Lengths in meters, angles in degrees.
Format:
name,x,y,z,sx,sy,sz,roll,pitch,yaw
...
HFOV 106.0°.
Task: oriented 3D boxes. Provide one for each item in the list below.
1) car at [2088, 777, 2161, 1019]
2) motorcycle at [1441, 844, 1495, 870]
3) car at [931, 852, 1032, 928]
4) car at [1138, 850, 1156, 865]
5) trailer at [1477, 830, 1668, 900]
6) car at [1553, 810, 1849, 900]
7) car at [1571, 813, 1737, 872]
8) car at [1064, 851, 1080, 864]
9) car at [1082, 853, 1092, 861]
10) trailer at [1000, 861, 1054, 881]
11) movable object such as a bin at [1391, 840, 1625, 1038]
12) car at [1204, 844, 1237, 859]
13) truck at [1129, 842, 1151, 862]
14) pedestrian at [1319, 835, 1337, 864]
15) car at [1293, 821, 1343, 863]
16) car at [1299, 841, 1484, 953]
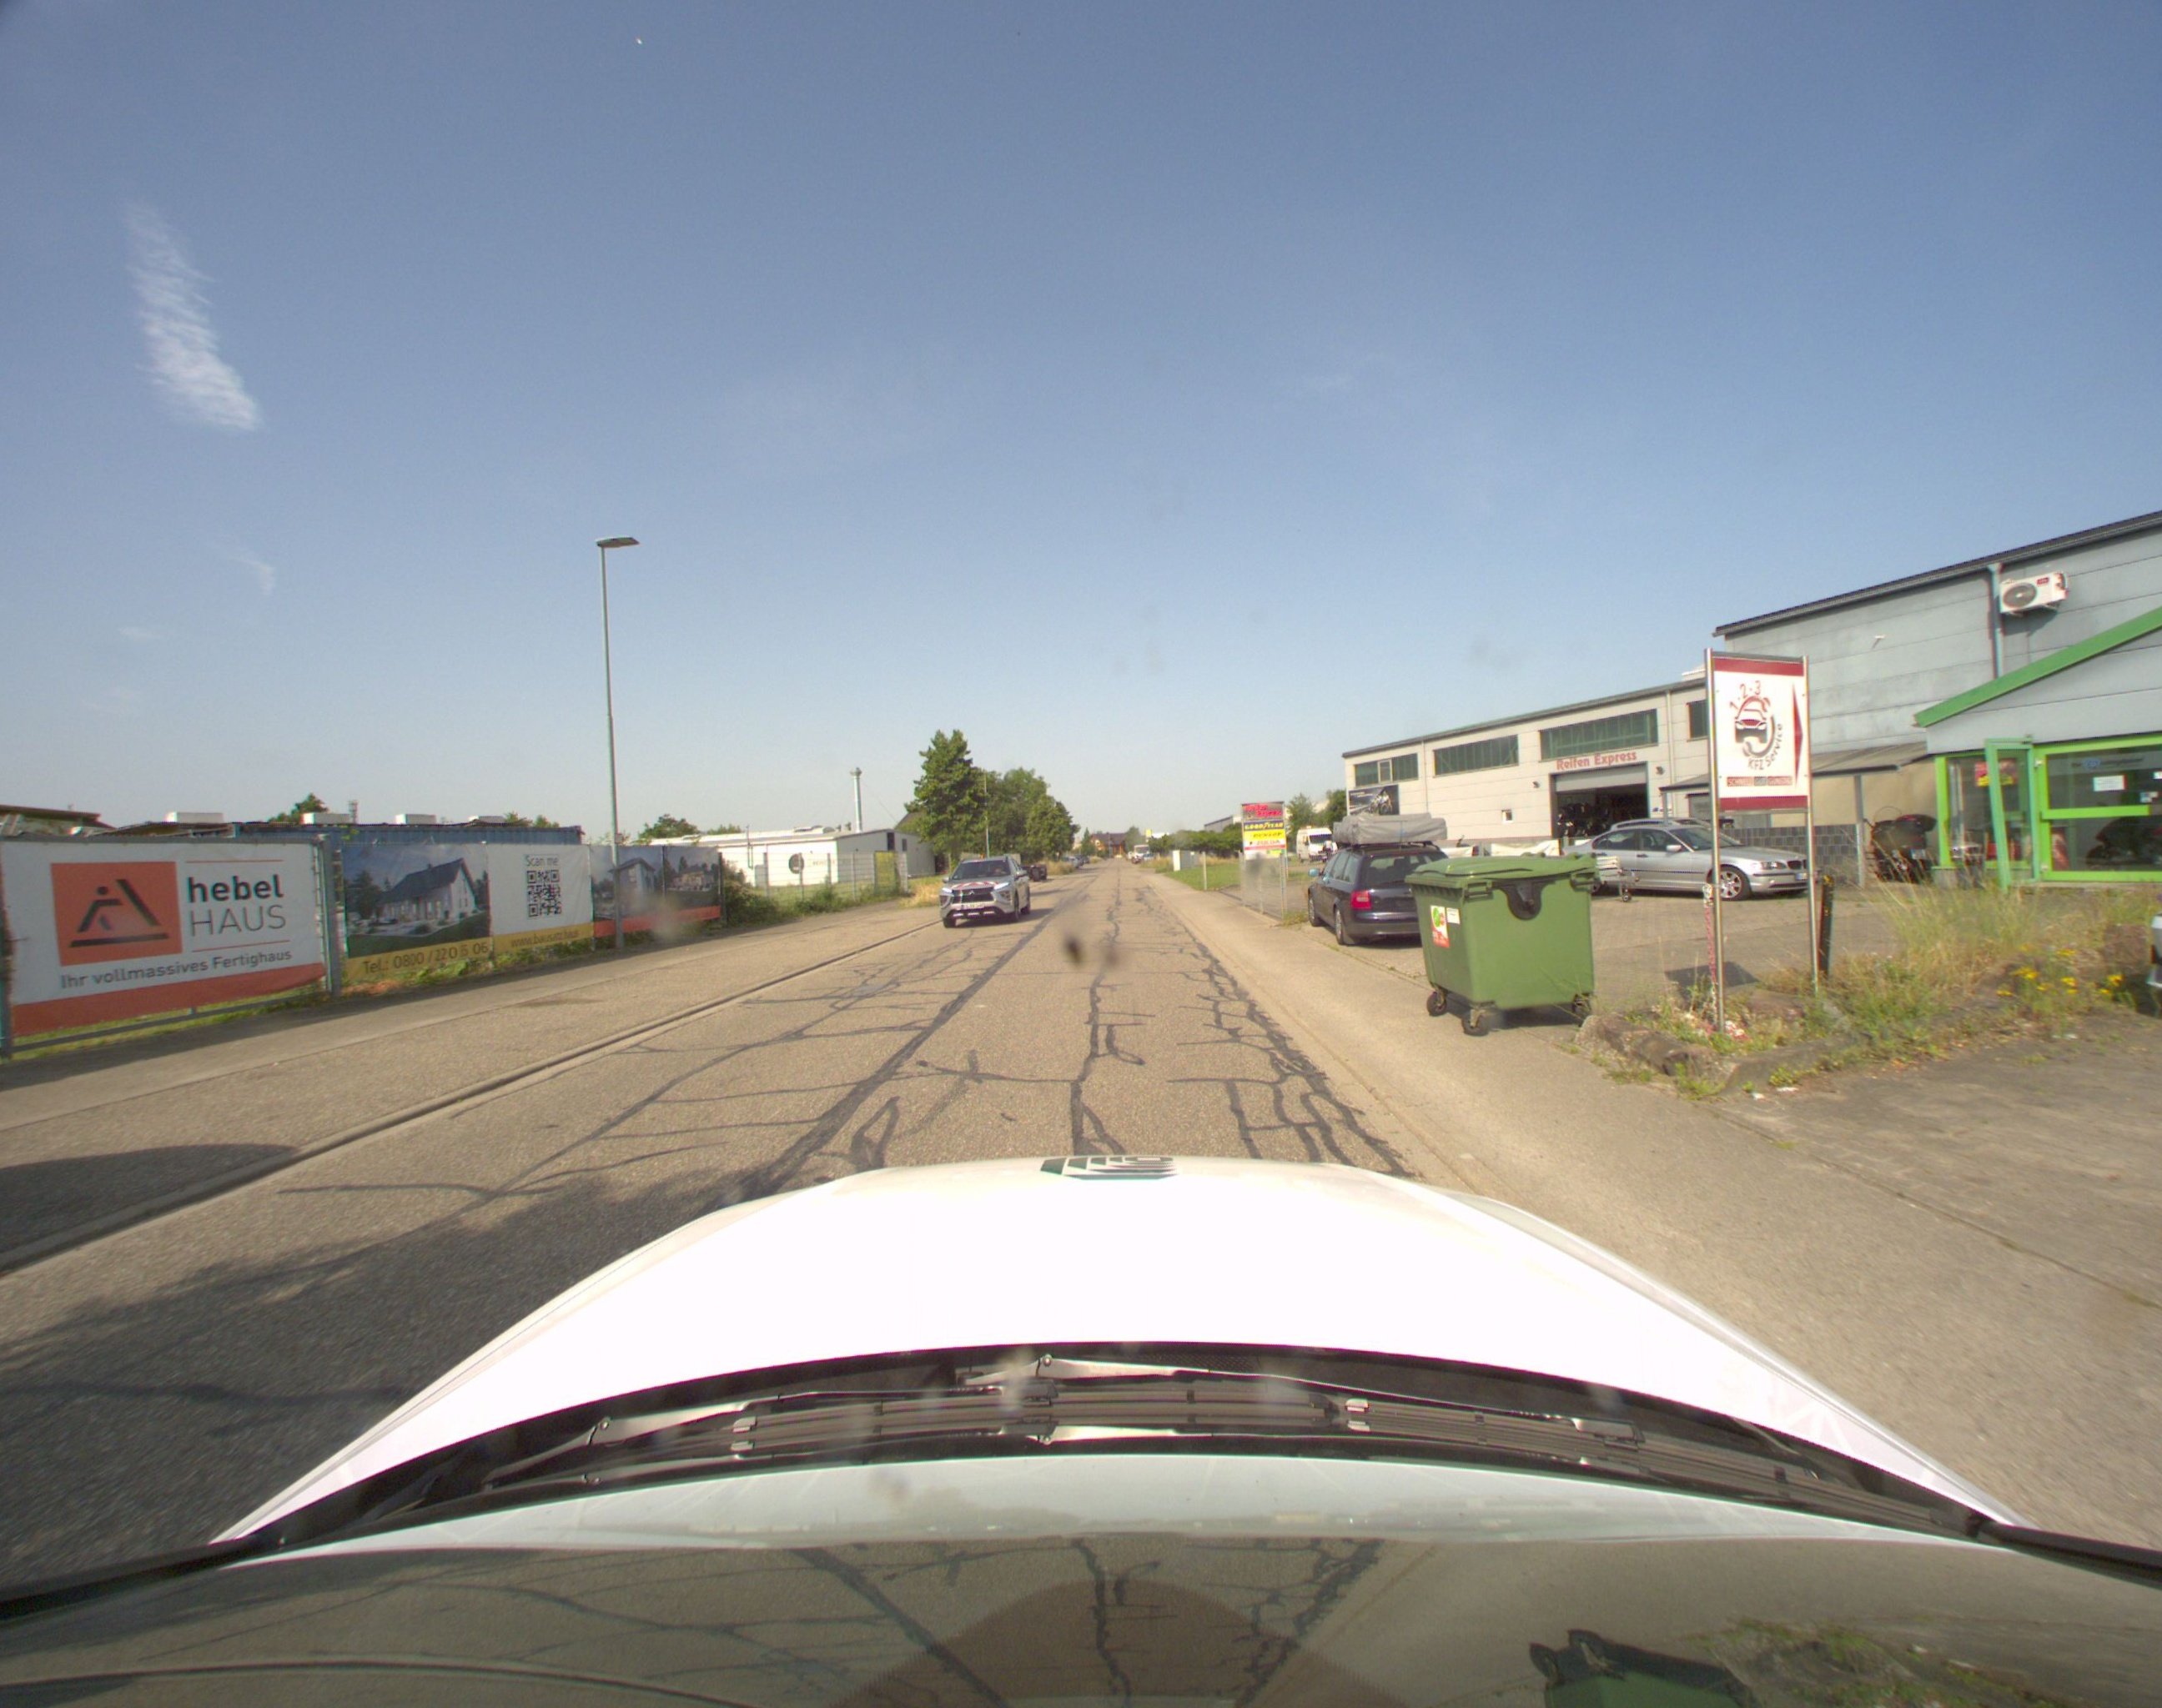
name,x,y,z,sx,sy,sz,roll,pitch,yaw
car,7.971,0.194,3.507,1.694,1.466,4.231,-3,0,-21
motorcycle,17.041,0.157,35.938,0.804,1.094,2.186,-3,0,-21
car,-2.386,0.821,20.632,1.805,1.627,4.251,-3,0,2
car,7.327,0.344,90.698,1.787,1.517,4.426,-3,0,2
trailer,9.699,0.206,16.279,1.497,1.248,2.954,-1,0,-23
car,11.784,0.040,15.923,1.644,1.466,4.433,-3,0,-18
car,16.911,-0.290,24.260,1.639,1.568,3.781,-3,0,-19
car,-1.075,0.447,101.650,1.677,1.469,4.257,-1,0,3
car,1.071,0.530,150.411,1.793,1.386,3.640,-1,0,2
trailer,-3.495,1.078,54.817,2.572,1.184,9.368,-1,0,2
movable object such as a bin,3.376,0.618,6.655,1.076,1.353,1.507,-5,0,3
car,17.576,-0.291,102.543,4.559,1.589,1.667,-3,0,-42
truck,8.284,-0.292,114.618,2.352,2.681,6.508,-3,0,-1
pedestrian,14.282,-0.249,47.119,0.695,1.640,0.754,-3,-1,37
car,16.702,-0.791,57.682,1.966,2.705,5.884,-3,0,2
car,4.572,0.557,12.665,1.664,1.368,4.402,-3,0,7
